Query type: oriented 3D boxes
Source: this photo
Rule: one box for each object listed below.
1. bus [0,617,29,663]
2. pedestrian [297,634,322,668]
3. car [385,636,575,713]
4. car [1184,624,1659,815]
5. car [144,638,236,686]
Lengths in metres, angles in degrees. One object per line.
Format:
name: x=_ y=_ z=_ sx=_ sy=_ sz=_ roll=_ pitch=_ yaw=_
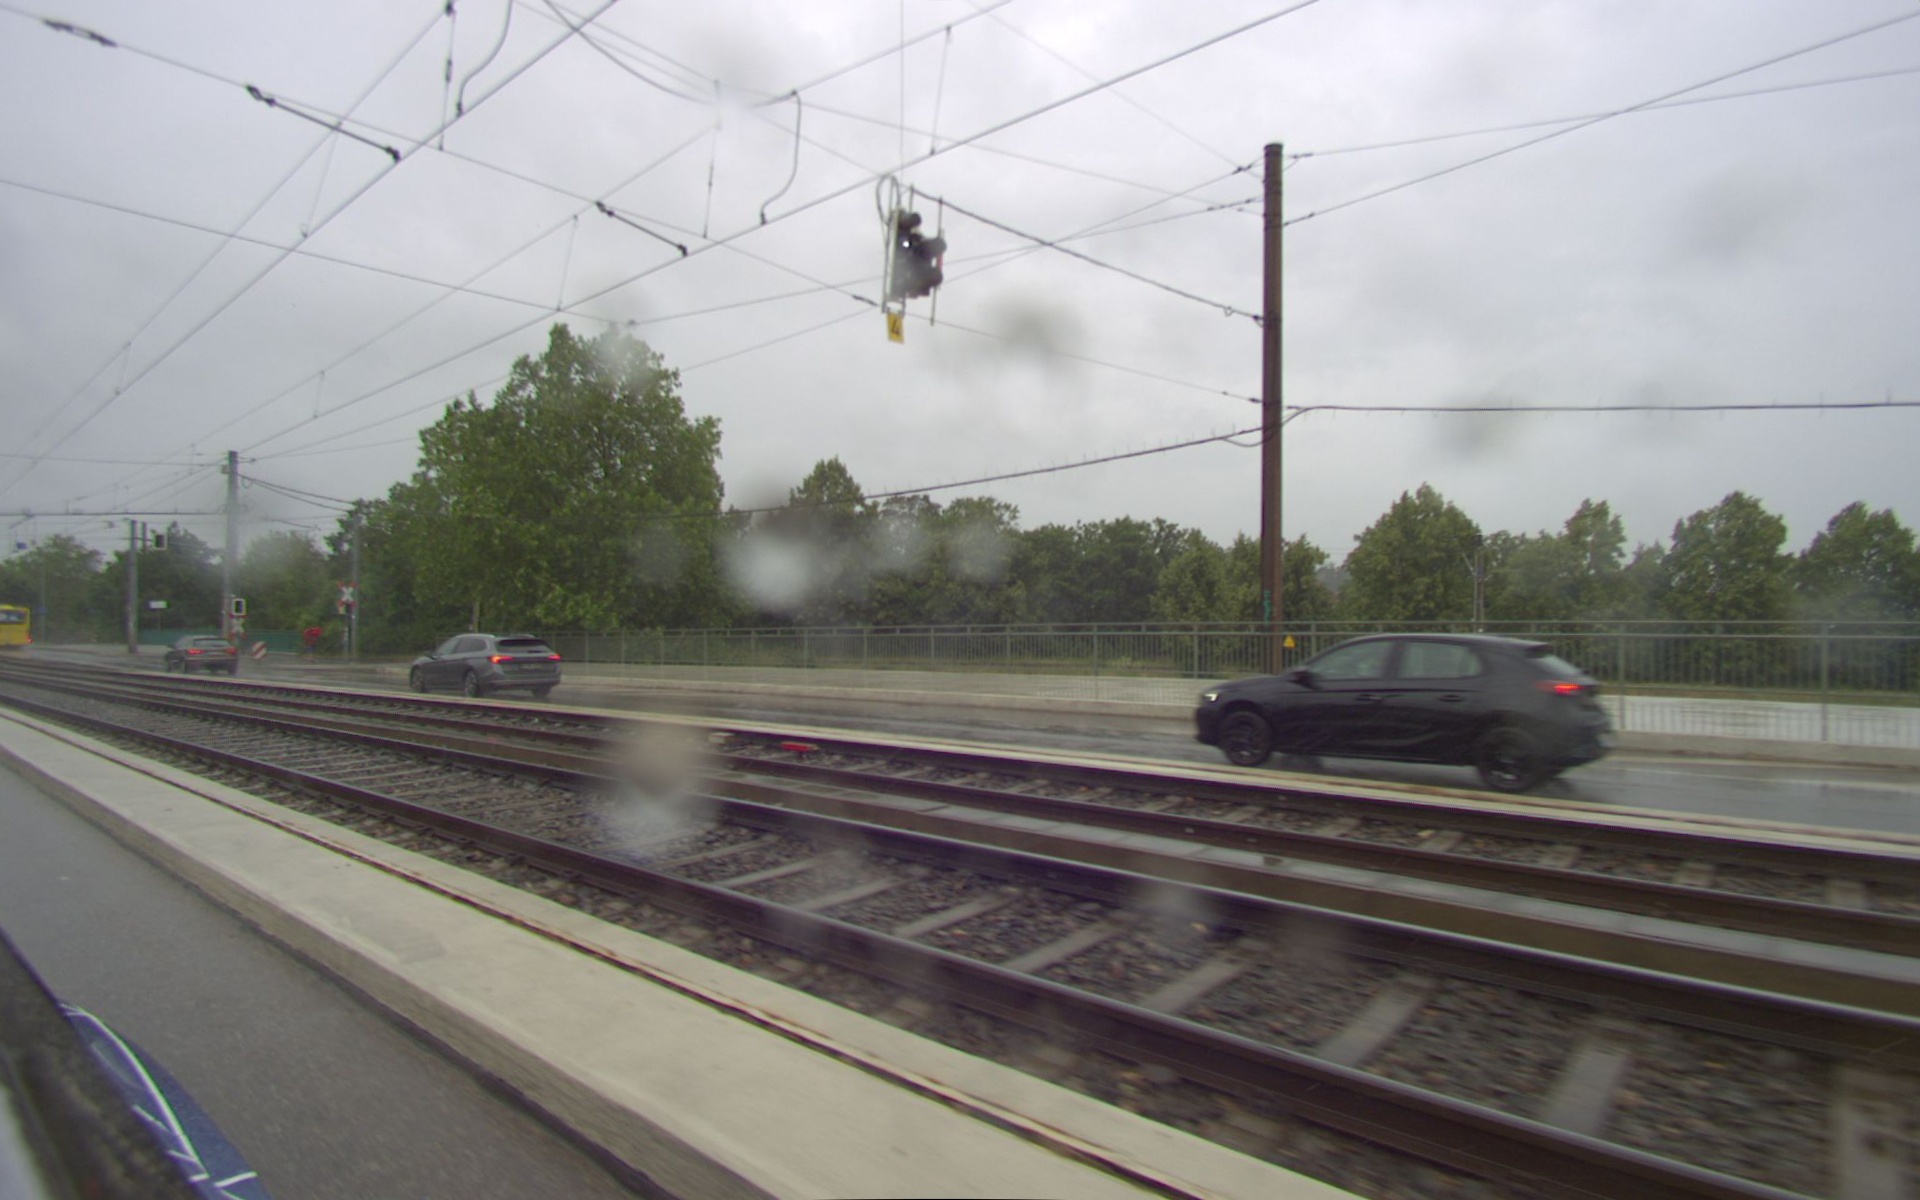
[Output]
bus: x=-74.457 y=3.151 z=77.934 sx=10.985 sy=3.367 sz=2.680 roll=-3 pitch=-5 yaw=41
pedestrian: x=-35.876 y=2.800 z=55.846 sx=1.042 sy=1.832 sz=0.856 roll=0 pitch=1 yaw=39
car: x=-11.392 y=1.676 z=23.860 sx=5.107 sy=1.521 sz=1.974 roll=0 pitch=-3 yaw=39
car: x=4.626 y=1.056 z=10.426 sx=4.089 sy=1.521 sz=1.973 roll=0 pitch=-3 yaw=40
car: x=-31.470 y=2.495 z=41.322 sx=4.938 sy=1.730 sz=1.973 roll=0 pitch=-3 yaw=41
